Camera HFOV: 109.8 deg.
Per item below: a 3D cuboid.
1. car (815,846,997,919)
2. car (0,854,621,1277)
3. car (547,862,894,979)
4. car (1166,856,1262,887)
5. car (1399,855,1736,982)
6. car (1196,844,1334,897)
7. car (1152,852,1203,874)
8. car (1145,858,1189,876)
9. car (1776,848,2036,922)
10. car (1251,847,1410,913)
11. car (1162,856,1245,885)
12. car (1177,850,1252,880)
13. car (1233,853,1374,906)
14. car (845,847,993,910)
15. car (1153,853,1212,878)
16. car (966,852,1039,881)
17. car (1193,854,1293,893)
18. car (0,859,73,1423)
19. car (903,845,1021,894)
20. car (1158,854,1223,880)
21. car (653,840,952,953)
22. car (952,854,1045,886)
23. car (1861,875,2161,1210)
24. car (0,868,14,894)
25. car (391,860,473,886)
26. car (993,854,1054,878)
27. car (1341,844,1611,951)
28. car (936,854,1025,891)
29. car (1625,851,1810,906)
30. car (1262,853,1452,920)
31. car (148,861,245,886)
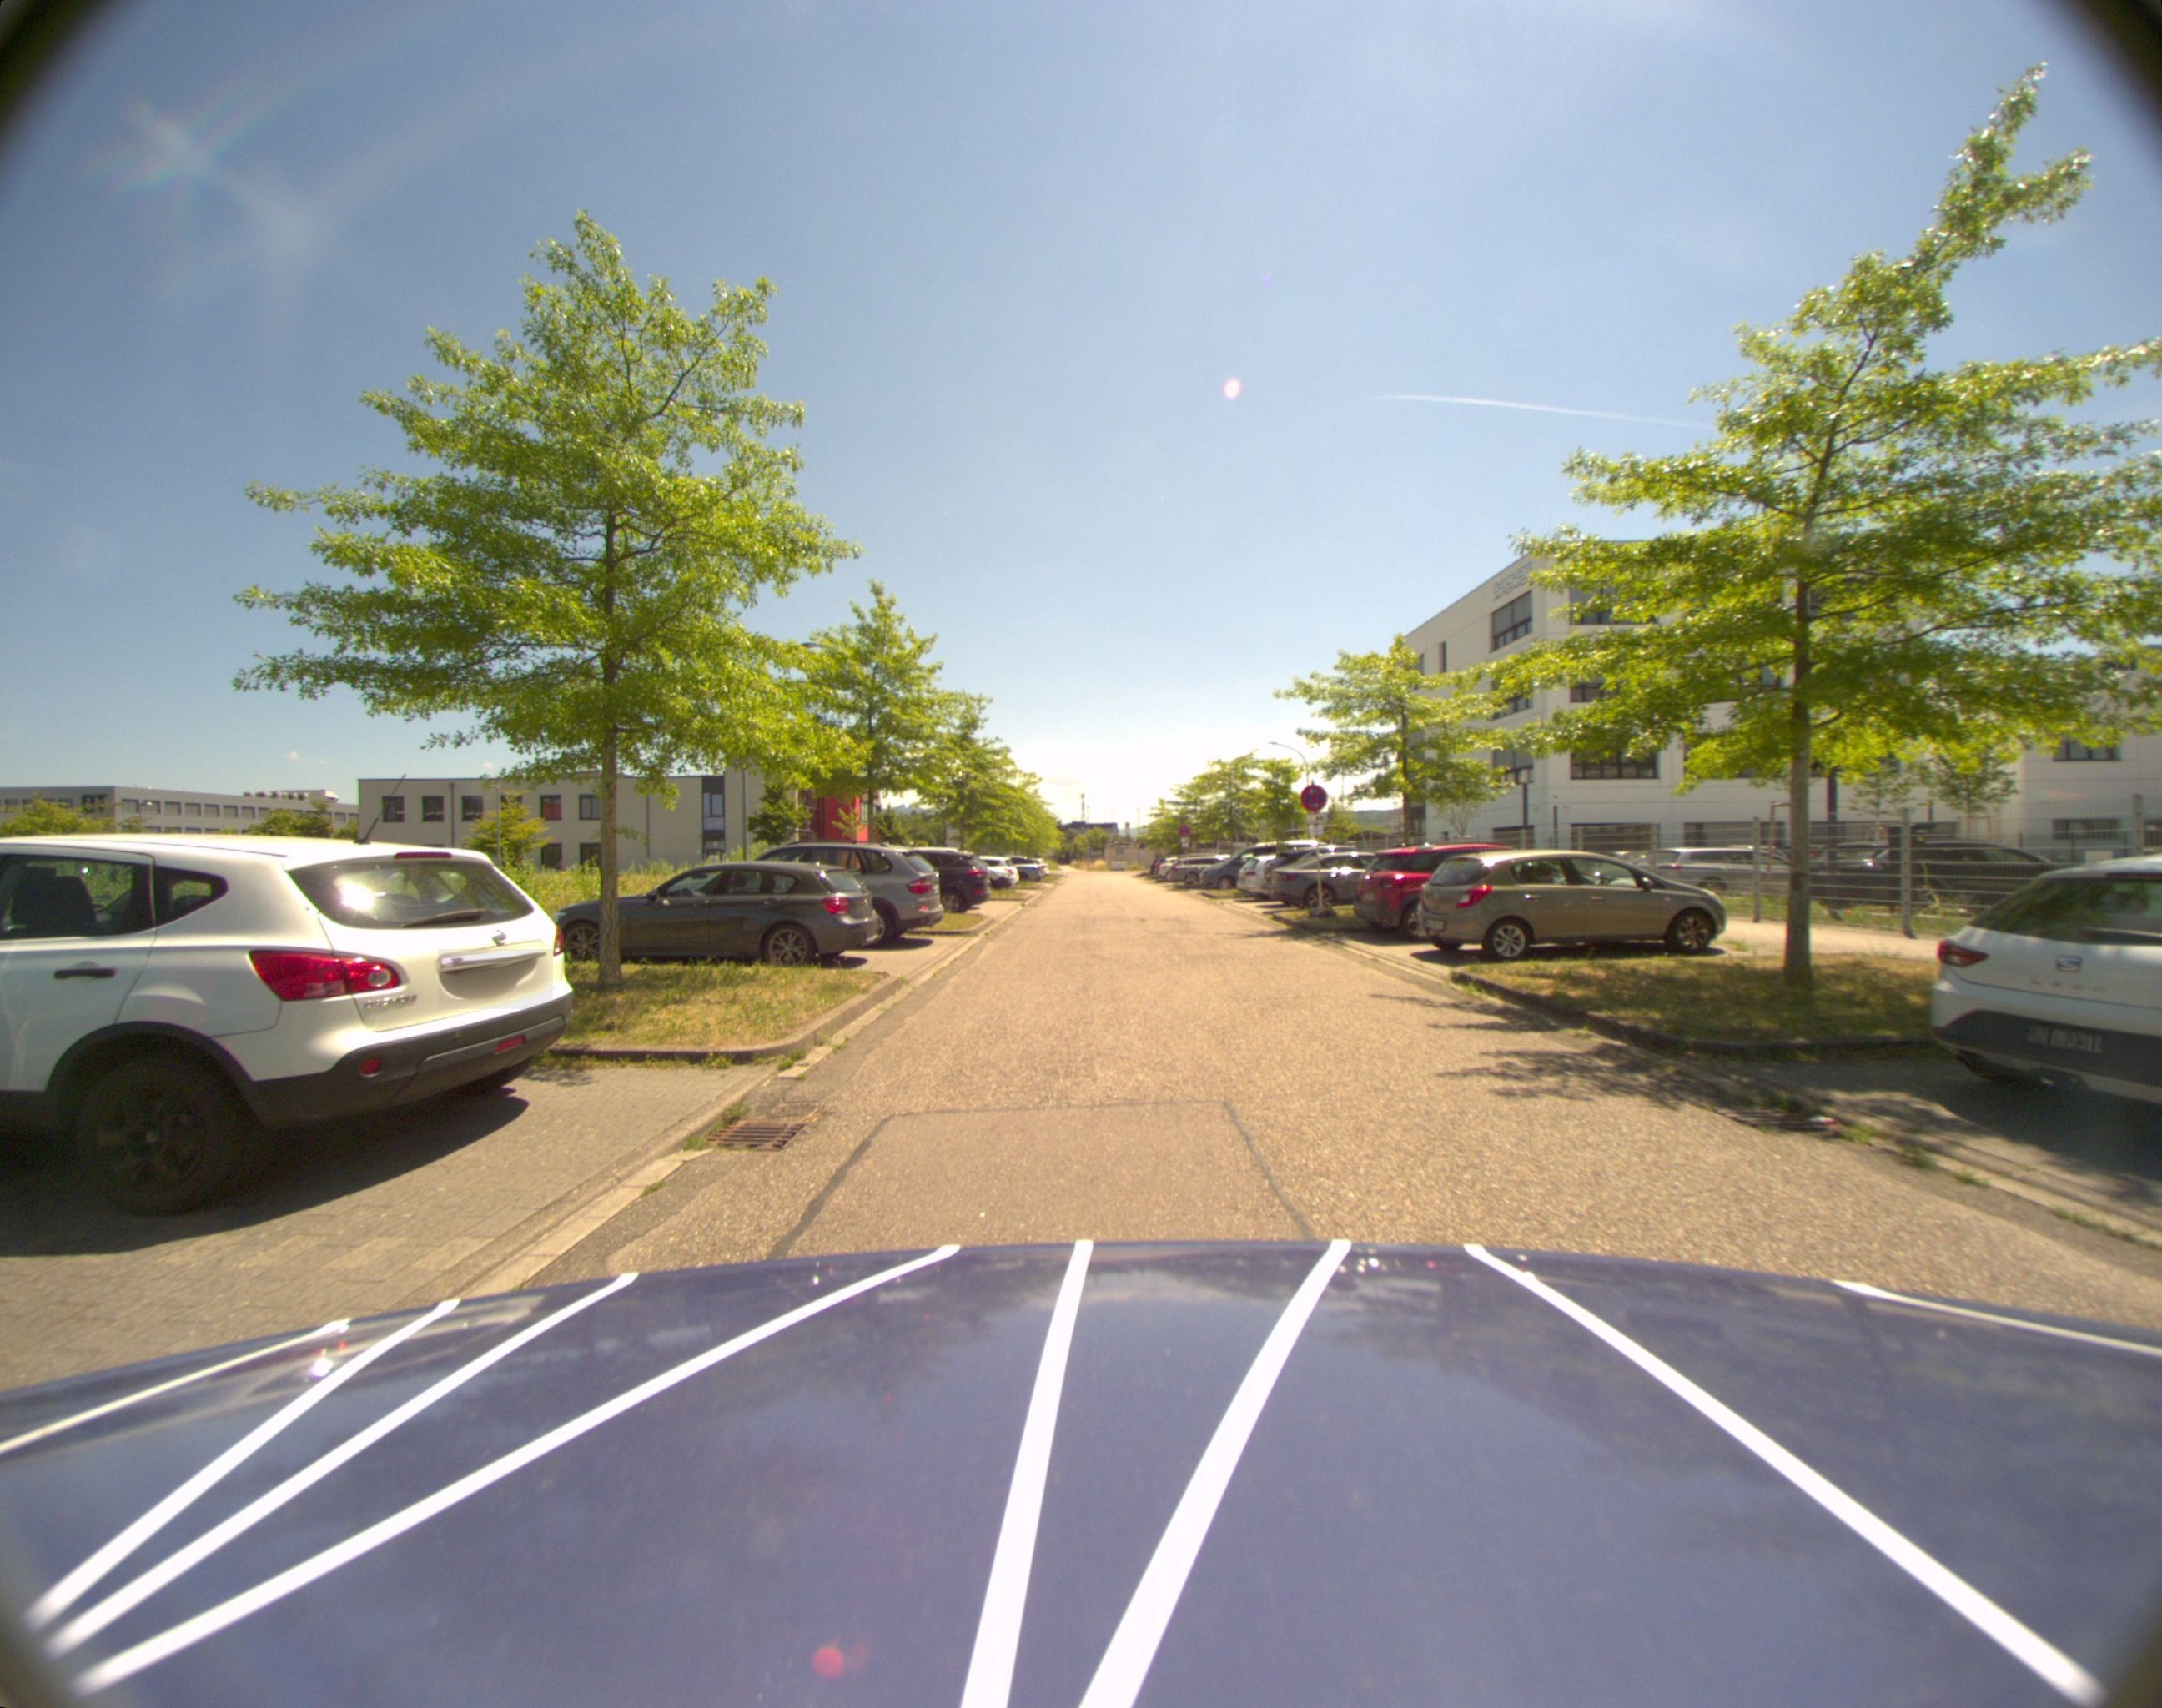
[{"bbox_3d":[-4.345,0.683,19.302,4.184,1.686,1.782,1,0,0],"label":"car"},{"bbox_3d":[-5.013,0.837,3.957,4.078,1.598,1.901,1,1,1],"label":"car"},{"bbox_3d":[-4.838,0.866,10.653,3.932,1.402,1.909,0,2,0],"label":"car"},{"bbox_3d":[6.976,0.896,40.264,4.725,1.439,1.857,-2,0,-1],"label":"car"},{"bbox_3d":[6.719,0.835,10.757,3.666,1.500,1.731,-2,0,-3],"label":"car"},{"bbox_3d":[7.328,0.647,30.658,5.082,1.880,1.997,-2,0,2],"label":"car"},{"bbox_3d":[7.667,0.724,60.764,3.915,1.582,1.728,-2,0,4],"label":"car"},{"bbox_3d":[7.404,1.112,65.539,3.513,1.432,1.727,-2,0,0],"label":"car"},{"bbox_3d":[16.787,0.604,15.589,3.488,1.382,1.678,1,0,0],"label":"car"},{"bbox_3d":[7.242,0.718,22.262,3.998,1.669,1.776,-3,0,-4],"label":"car"},{"bbox_3d":[6.885,0.909,42.808,4.322,1.464,1.727,-2,0,-2],"label":"car"},{"bbox_3d":[7.900,0.642,45.099,4.127,1.625,1.728,-2,0,2],"label":"car"},{"bbox_3d":[7.124,0.794,24.582,4.048,1.452,1.604,-3,0,-2],"label":"car"},{"bbox_3d":[-4.647,0.687,22.140,3.885,1.668,1.782,1,0,1],"label":"car"},{"bbox_3d":[7.185,0.792,54.075,3.849,1.582,1.727,-2,0,-2],"label":"car"},{"bbox_3d":[-4.600,0.712,44.930,4.056,1.615,1.693,1,0,1],"label":"car"},{"bbox_3d":[7.056,0.827,33.335,3.978,1.475,1.764,-3,0,1],"label":"car"},{"bbox_3d":[-5.129,0.816,1.426,3.997,1.634,1.838,1,0,0],"label":"car"},{"bbox_3d":[-4.769,0.595,30.790,4.413,1.819,1.796,1,1,2],"label":"car"},{"bbox_3d":[7.378,0.894,51.441,4.182,1.504,1.808,-3,-1,2],"label":"car"},{"bbox_3d":[-4.644,0.688,13.239,4.461,1.758,1.992,1,0,-1],"label":"car"},{"bbox_3d":[-4.273,0.803,39.942,4.729,1.552,1.913,1,0,-3],"label":"car"},{"bbox_3d":[6.941,0.838,3.889,4.087,1.416,1.873,-2,0,-3],"label":"car"},{"bbox_3d":[-65.251,1.594,44.181,3.997,1.501,1.719,0,0,1],"label":"car"},{"bbox_3d":[-38.202,1.110,44.779,3.331,1.501,1.719,0,0,1],"label":"car"},{"bbox_3d":[-3.910,0.812,51.952,3.842,1.544,1.780,0,-1,5],"label":"car"},{"bbox_3d":[6.751,0.710,13.313,3.747,1.612,1.816,-2,0,1],"label":"car"},{"bbox_3d":[-4.395,0.806,33.496,3.640,1.494,1.676,1,1,1],"label":"car"},{"bbox_3d":[16.730,0.625,20.093,3.488,1.382,1.678,1,0,0],"label":"car"},{"bbox_3d":[6.971,0.795,19.509,4.203,1.471,1.712,-3,0,1],"label":"car"},{"bbox_3d":[-54.639,1.199,46.982,3.997,1.501,1.719,0,0,-1],"label":"car"}]
